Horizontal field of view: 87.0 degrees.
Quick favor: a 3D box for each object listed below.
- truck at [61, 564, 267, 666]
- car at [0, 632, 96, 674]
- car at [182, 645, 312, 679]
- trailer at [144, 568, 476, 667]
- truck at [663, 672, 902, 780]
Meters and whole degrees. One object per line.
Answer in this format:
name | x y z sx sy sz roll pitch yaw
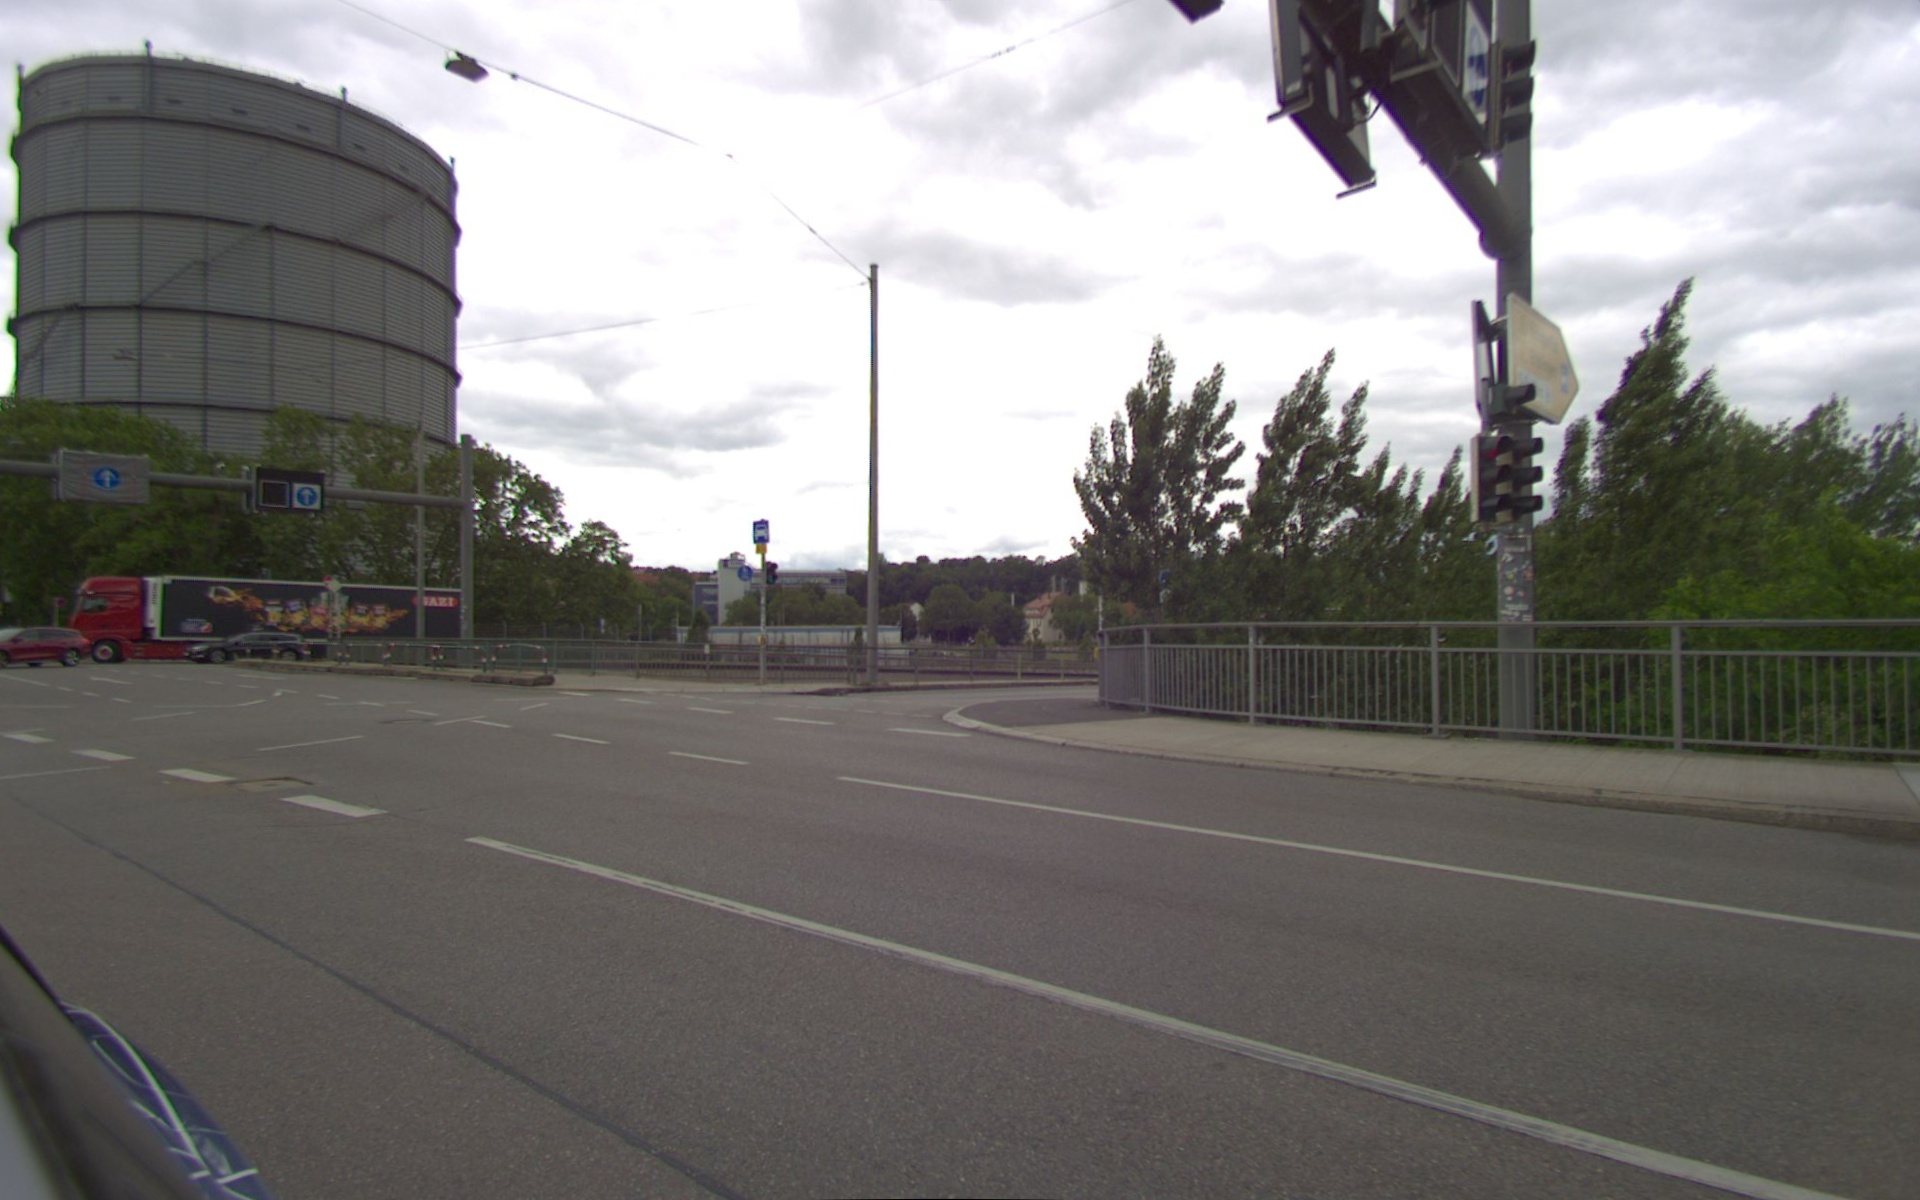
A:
truck | -36.942 0.848 47.388 7.116 4.355 3.680 3 -4 -36
car | -34.557 1.921 37.099 1.677 1.431 4.458 -1 -1 7
car | -31.790 2.746 45.229 1.696 1.431 4.408 -2 -4 40
trailer | -32.422 1.135 51.341 13.574 4.355 3.674 4 -5 -44
truck | -8.876 6.306 53.062 13.062 4.389 2.893 1 -1 -45
